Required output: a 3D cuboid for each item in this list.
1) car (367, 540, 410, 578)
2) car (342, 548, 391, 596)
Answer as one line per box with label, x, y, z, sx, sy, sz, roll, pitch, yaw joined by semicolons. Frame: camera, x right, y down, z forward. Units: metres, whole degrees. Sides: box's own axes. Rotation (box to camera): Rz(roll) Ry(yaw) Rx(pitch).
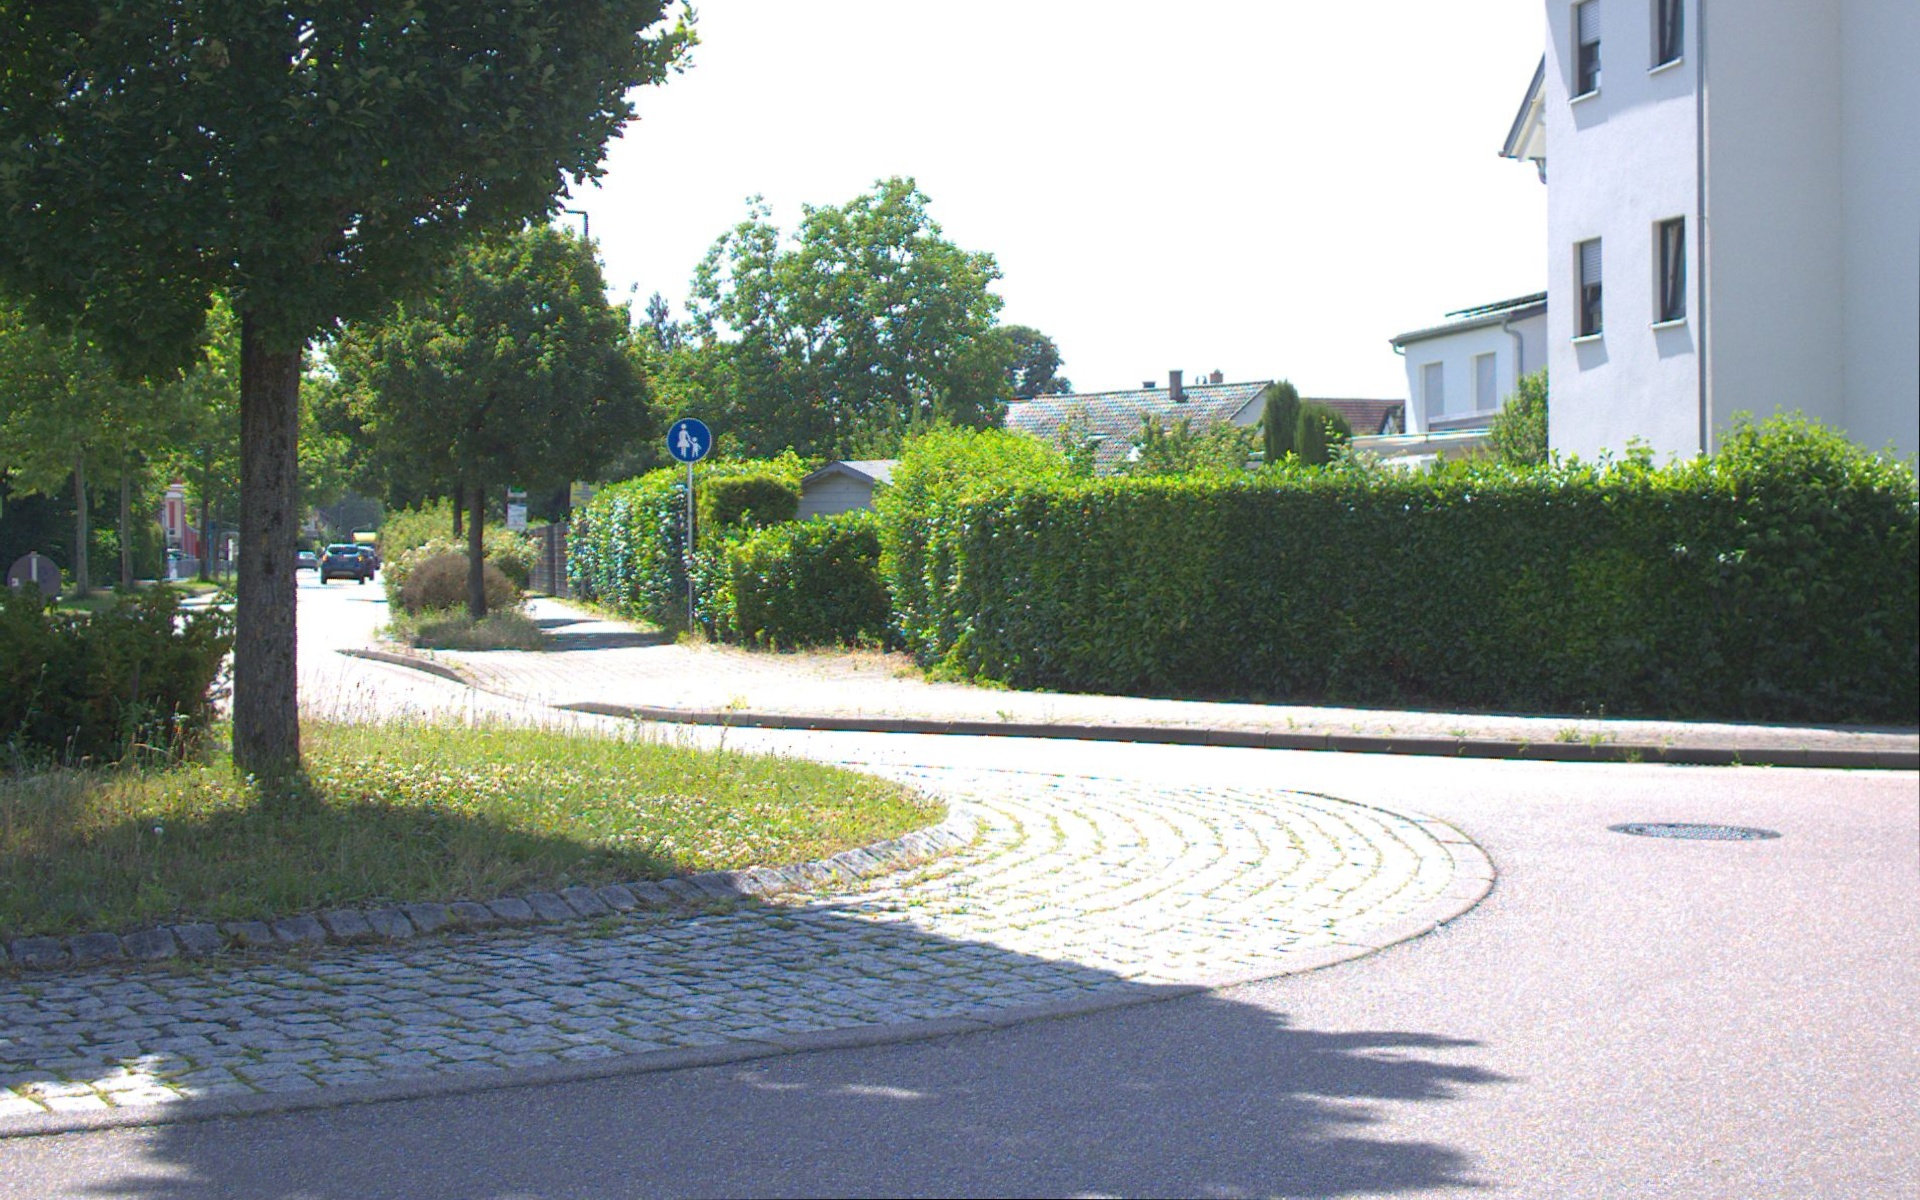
car;-28.092;-2.000;168.970;1.993;1.764;4.001;1;0;-8
car;-24.472;-1.147;141.866;1.922;1.880;4.001;1;0;-9
